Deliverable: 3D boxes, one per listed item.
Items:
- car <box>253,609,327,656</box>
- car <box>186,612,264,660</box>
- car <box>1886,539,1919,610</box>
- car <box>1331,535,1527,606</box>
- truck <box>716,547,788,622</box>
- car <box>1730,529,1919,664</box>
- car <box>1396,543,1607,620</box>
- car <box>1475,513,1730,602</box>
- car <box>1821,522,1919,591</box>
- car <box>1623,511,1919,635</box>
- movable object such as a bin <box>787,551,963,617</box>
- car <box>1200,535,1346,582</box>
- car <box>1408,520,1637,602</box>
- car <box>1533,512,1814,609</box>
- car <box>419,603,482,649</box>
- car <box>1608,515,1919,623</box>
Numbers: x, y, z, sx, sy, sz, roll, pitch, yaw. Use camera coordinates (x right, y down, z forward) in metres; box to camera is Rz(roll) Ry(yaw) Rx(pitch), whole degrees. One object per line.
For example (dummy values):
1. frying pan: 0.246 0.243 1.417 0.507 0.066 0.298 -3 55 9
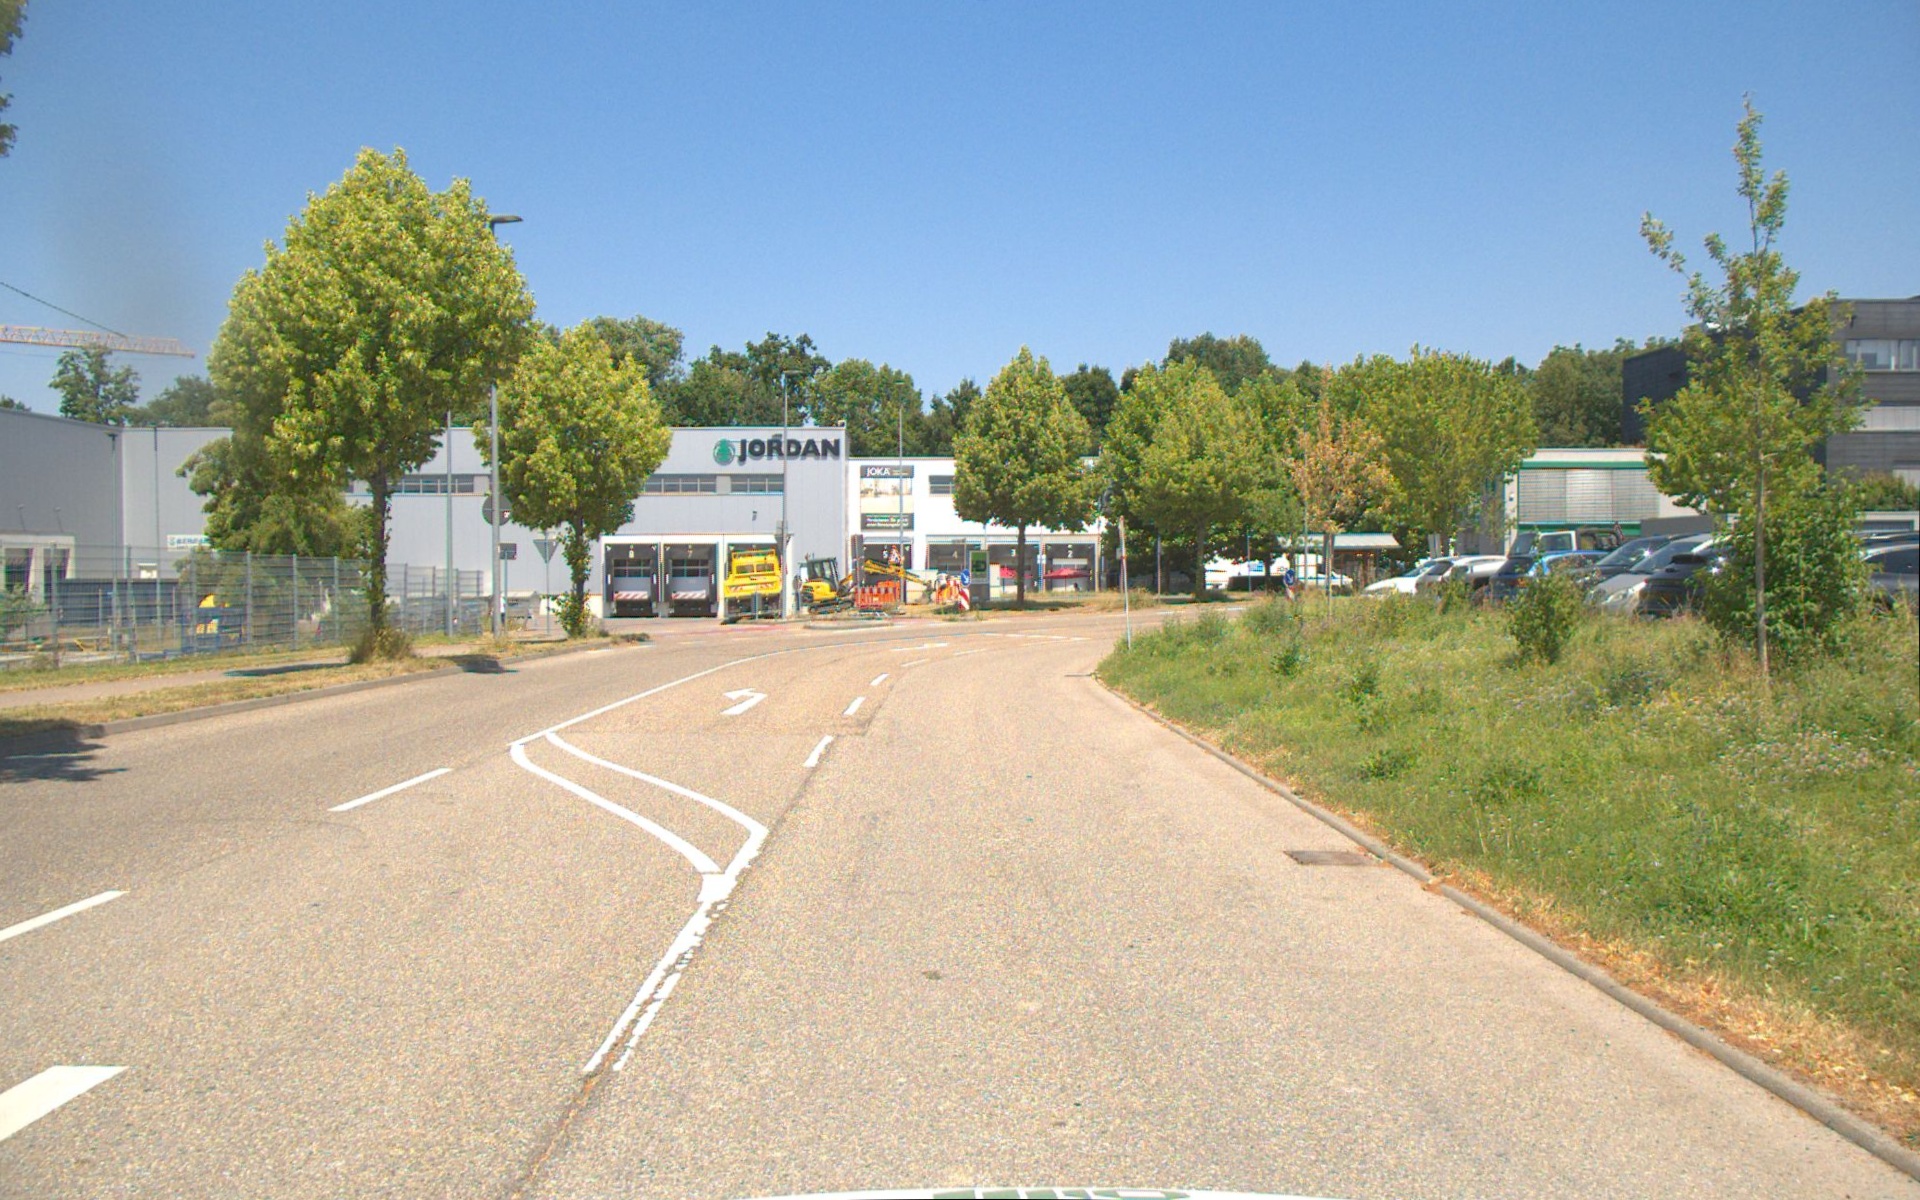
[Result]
1. car: -29.149 1.383 72.086 1.956 1.578 3.995 -3 4 -8
2. car: -31.695 1.525 71.431 1.956 1.578 3.995 -3 4 -8
3. car: 22.151 -0.597 35.244 3.909 1.424 1.768 -2 4 -5
4. car: 11.001 -0.722 38.909 4.081 1.424 1.768 -2 4 -5
5. truck: -9.415 -0.772 74.437 2.885 2.935 5.799 -3 4 -9
6. car: 12.104 -0.122 20.101 4.607 1.424 1.923 -2 4 1
7. car: 11.924 -0.428 36.562 4.081 1.424 1.768 -2 4 -5
8. car: 11.927 -0.818 30.815 4.081 1.424 1.768 -2 4 -5
9. car: 22.403 -1.069 38.462 3.909 1.424 1.768 -2 4 -5
10. car: 11.362 -0.400 22.396 4.081 1.424 1.768 -2 4 -5
11. movable object such as a bin: -3.771 -0.751 74.921 7.366 2.542 3.671 -2 4 7
12. car: 15.814 -2.092 83.886 7.023 2.124 2.001 -2 0 2
13. car: 11.496 -0.823 33.930 4.081 1.424 1.768 -2 4 -5
14. car: 12.174 -0.706 28.354 4.081 1.424 1.768 -2 4 -5
15. car: -22.327 1.101 72.656 1.956 1.578 3.995 -3 4 -8
16. car: 12.449 -0.516 25.685 4.081 1.424 1.768 -2 4 -5
